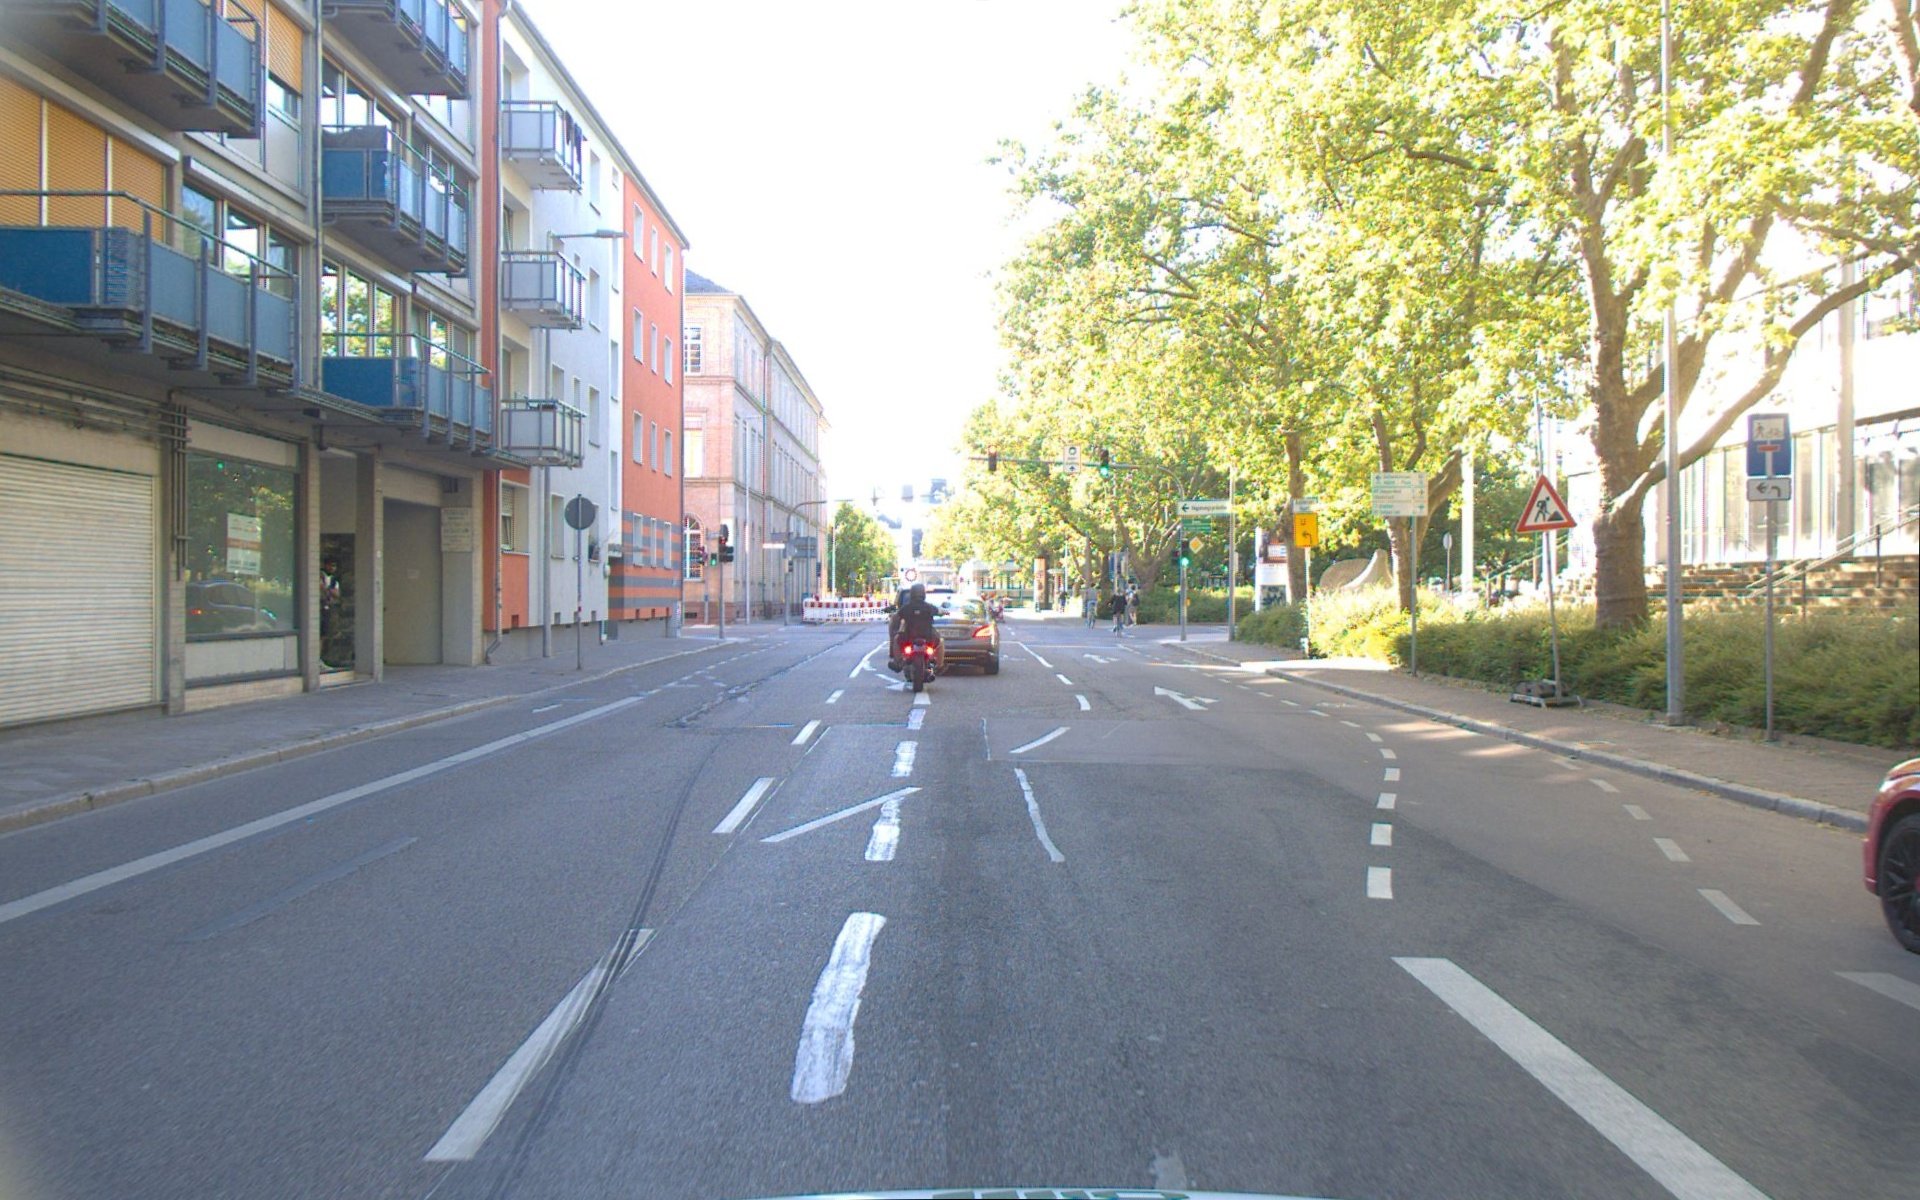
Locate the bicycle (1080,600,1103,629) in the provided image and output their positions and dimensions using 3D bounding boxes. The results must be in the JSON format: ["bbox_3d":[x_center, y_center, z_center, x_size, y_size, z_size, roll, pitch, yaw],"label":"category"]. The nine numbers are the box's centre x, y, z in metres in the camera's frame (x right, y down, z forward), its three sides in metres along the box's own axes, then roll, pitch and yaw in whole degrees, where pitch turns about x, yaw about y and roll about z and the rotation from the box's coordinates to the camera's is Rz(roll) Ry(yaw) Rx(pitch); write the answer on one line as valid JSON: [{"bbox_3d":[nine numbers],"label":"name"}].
[{"bbox_3d":[5.193,0.564,65.337,0.643,1.131,2.185,2,0,-1],"label":"bicycle"}]

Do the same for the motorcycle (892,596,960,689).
[{"bbox_3d":[-0.515,0.612,25.204,0.991,1.329,2.672,0,0,-1],"label":"motorcycle"}]

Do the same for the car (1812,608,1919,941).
[{"bbox_3d":[5.187,0.824,6.046,1.659,1.474,4.434,2,0,-3],"label":"car"}]

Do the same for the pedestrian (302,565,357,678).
[{"bbox_3d":[-9.105,0.303,23.892,0.503,1.607,0.756,0,0,-1],"label":"pedestrian"}]

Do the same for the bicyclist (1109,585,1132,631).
[{"bbox_3d":[5.448,0.268,56.237,0.643,1.557,0.852,2,0,-1],"label":"bicyclist"}]

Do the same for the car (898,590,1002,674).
[{"bbox_3d":[-0.212,0.547,30.785,1.791,1.445,3.814,1,0,-1],"label":"car"}]

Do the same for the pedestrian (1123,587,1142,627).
[{"bbox_3d":[7.845,0.312,75.266,0.614,1.805,0.569,1,-1,41],"label":"pedestrian"}]

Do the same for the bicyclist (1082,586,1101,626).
[{"bbox_3d":[5.199,0.235,65.366,0.643,1.557,0.906,2,0,-1],"label":"bicyclist"}]

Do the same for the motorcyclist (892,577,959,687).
[{"bbox_3d":[-0.522,0.474,25.260,0.991,1.630,1.406,0,0,-1],"label":"motorcyclist"}]

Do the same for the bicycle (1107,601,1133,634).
[{"bbox_3d":[5.439,0.582,56.194,0.643,1.089,1.926,2,0,-1],"label":"bicycle"}]

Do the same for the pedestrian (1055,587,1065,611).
[{"bbox_3d":[6.901,-0.080,113.989,0.580,1.606,0.527,2,0,-1],"label":"pedestrian"}]

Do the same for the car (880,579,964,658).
[{"bbox_3d":[-0.923,0.412,38.347,1.599,1.679,3.845,2,0,-6],"label":"car"}]
